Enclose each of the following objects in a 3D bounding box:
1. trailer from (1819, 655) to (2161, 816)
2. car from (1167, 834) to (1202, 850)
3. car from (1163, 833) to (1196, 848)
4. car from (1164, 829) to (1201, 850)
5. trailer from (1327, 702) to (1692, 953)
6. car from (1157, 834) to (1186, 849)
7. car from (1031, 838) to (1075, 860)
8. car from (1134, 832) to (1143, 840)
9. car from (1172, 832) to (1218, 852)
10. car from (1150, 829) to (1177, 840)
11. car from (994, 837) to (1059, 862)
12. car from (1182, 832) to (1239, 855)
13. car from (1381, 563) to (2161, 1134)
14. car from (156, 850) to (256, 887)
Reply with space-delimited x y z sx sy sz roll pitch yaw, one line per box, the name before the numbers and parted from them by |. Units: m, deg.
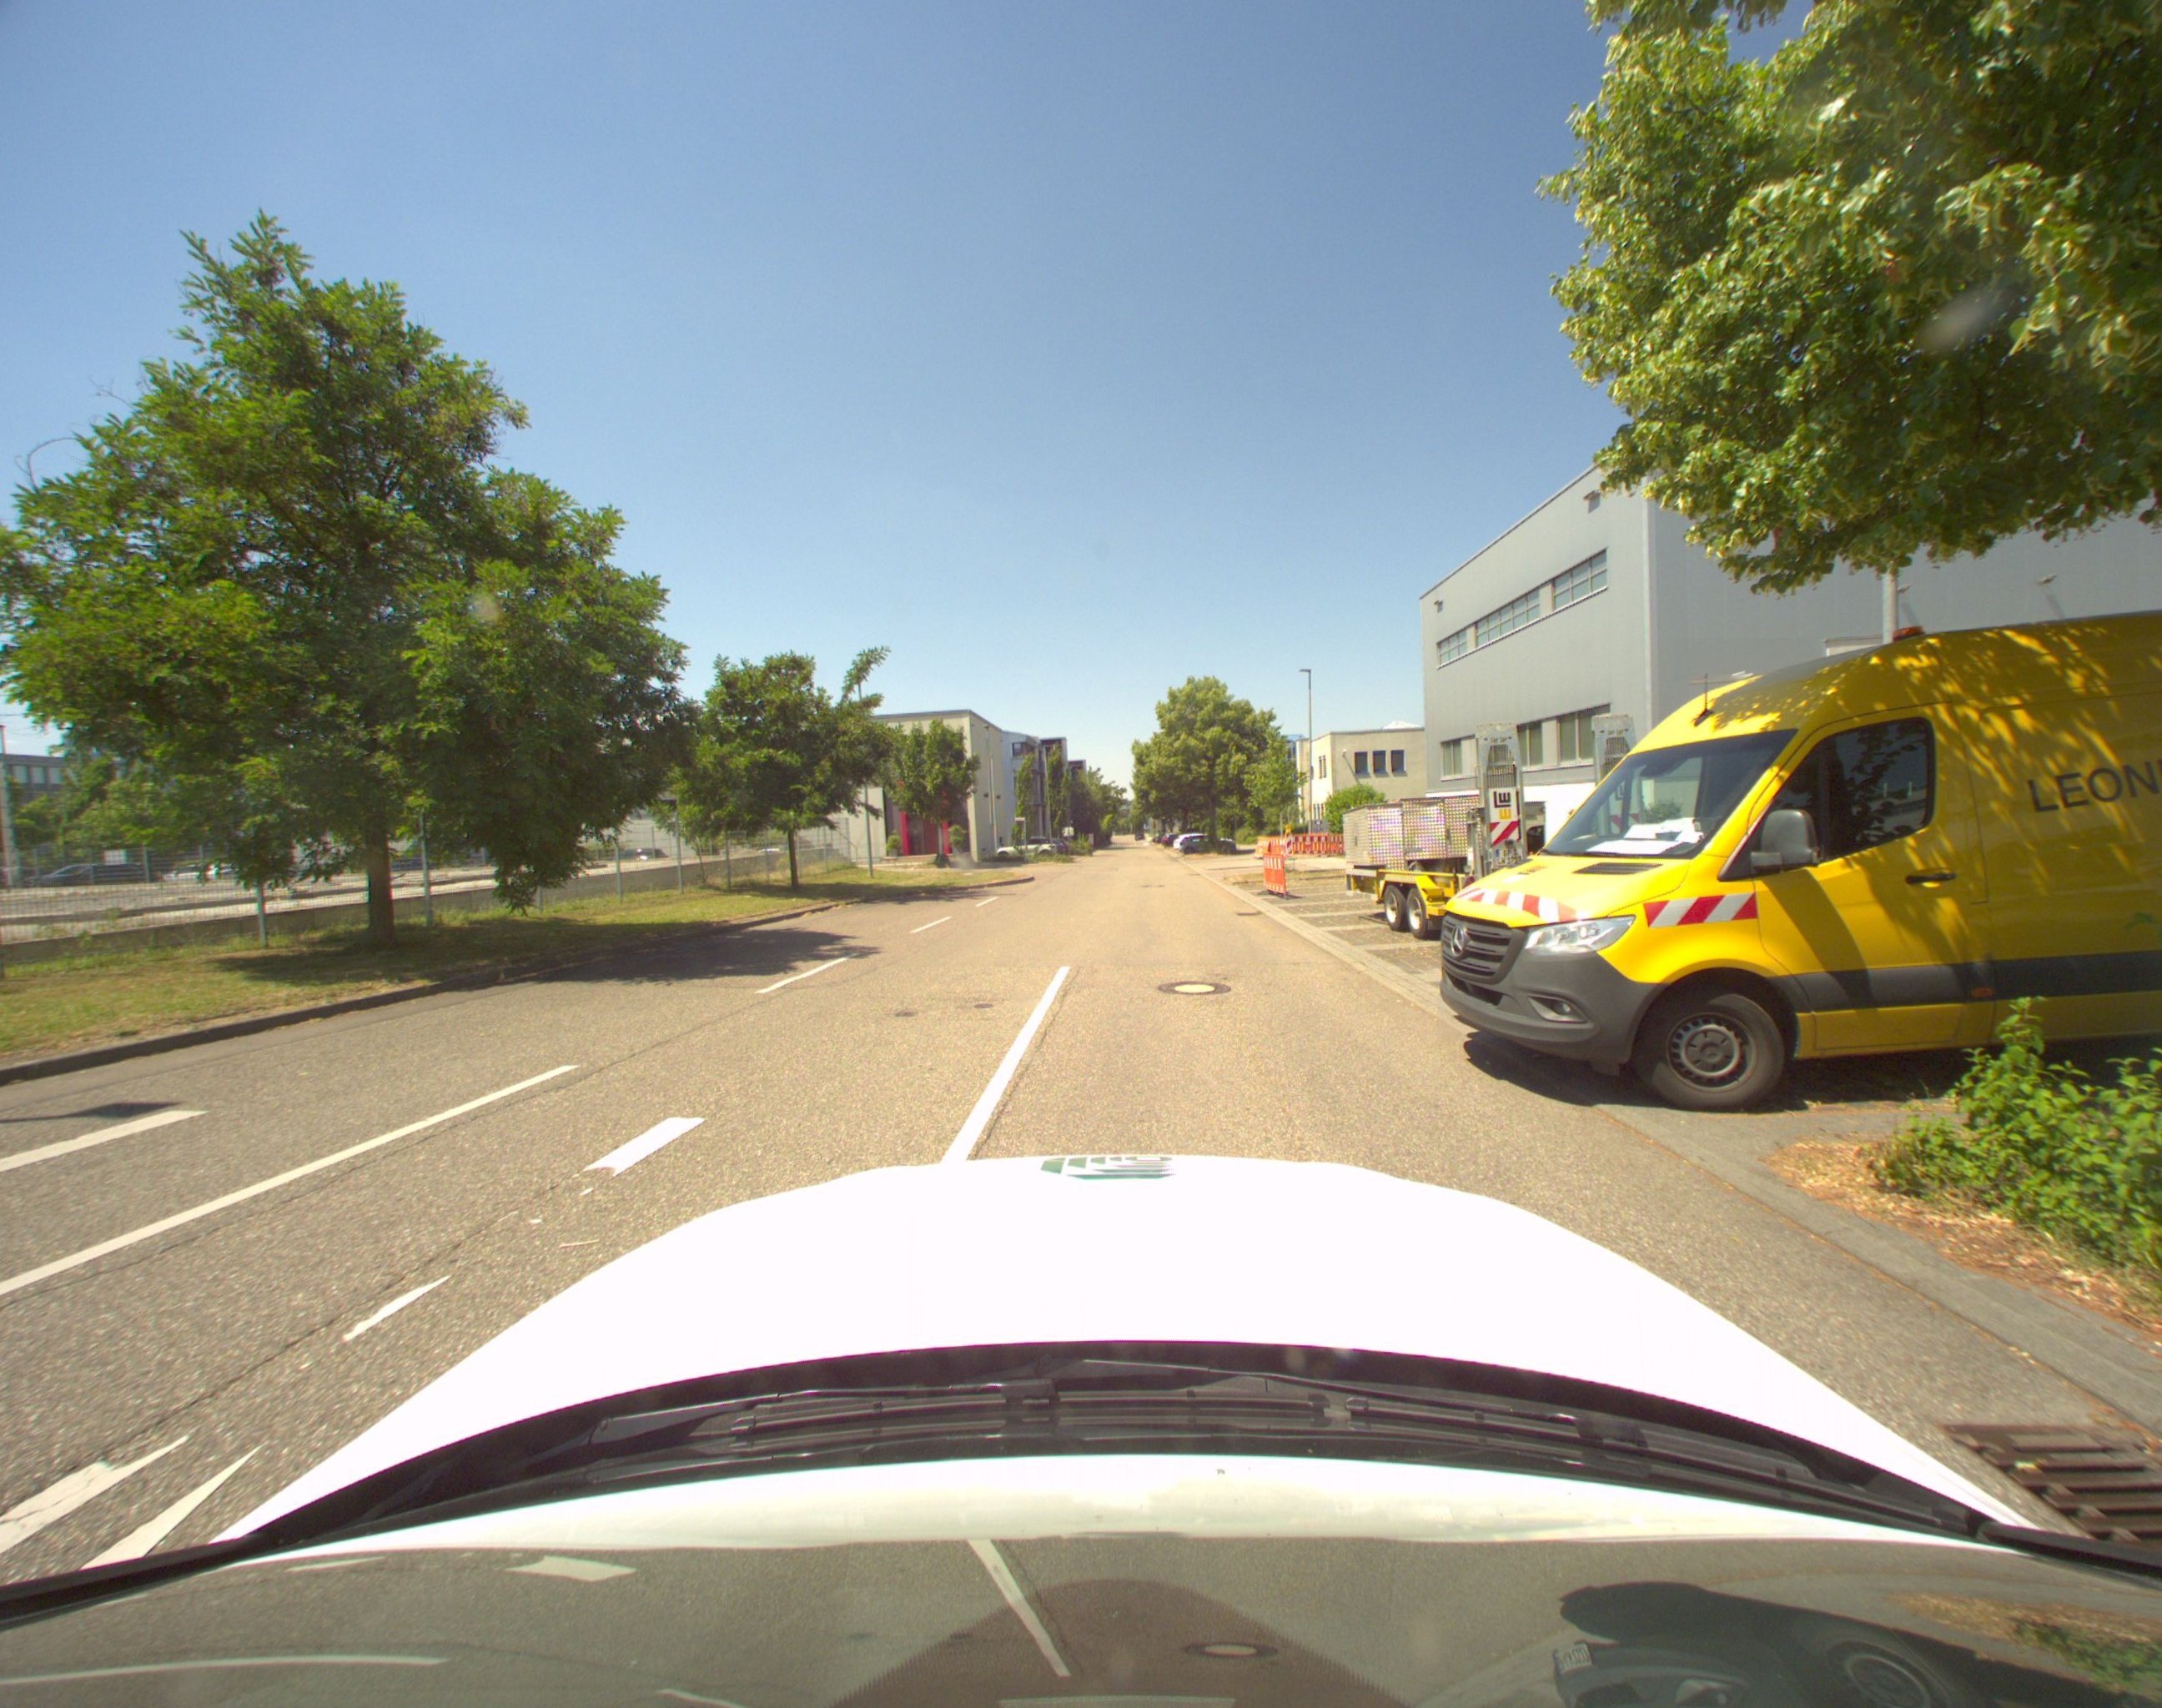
trailer | 17.902 -2.038 14.878 2.645 2.419 7.430 -1 5 6
car | 11.404 -1.335 89.566 3.706 1.626 1.816 -2 1 3
car | 11.472 -1.563 94.903 3.706 1.626 1.816 -2 1 3
car | 10.717 -1.515 85.819 3.706 2.110 1.816 -2 1 3
trailer | 6.043 -0.364 12.649 2.648 2.857 5.520 -4 1 0
car | 13.024 -1.794 117.049 3.924 1.834 1.765 -2 4 -4
car | -1.955 -0.373 57.690 3.051 1.478 1.291 -1 1 -3
car | 11.950 -3.728 168.504 1.753 1.755 3.950 -2 1 5
car | 9.374 -0.989 67.186 3.506 1.354 1.537 -5 1 -1
car | 13.091 -3.138 129.066 3.924 1.577 1.765 -2 4 -4
car | -3.539 -0.328 53.037 4.031 1.494 1.729 -2 1 1
car | 9.128 -0.743 57.572 3.668 1.354 1.645 -5 1 -1
car | 5.280 -0.129 5.275 5.753 2.732 2.003 -6 2 4
car | -53.452 0.875 49.794 3.967 2.012 1.976 -1 4 6
